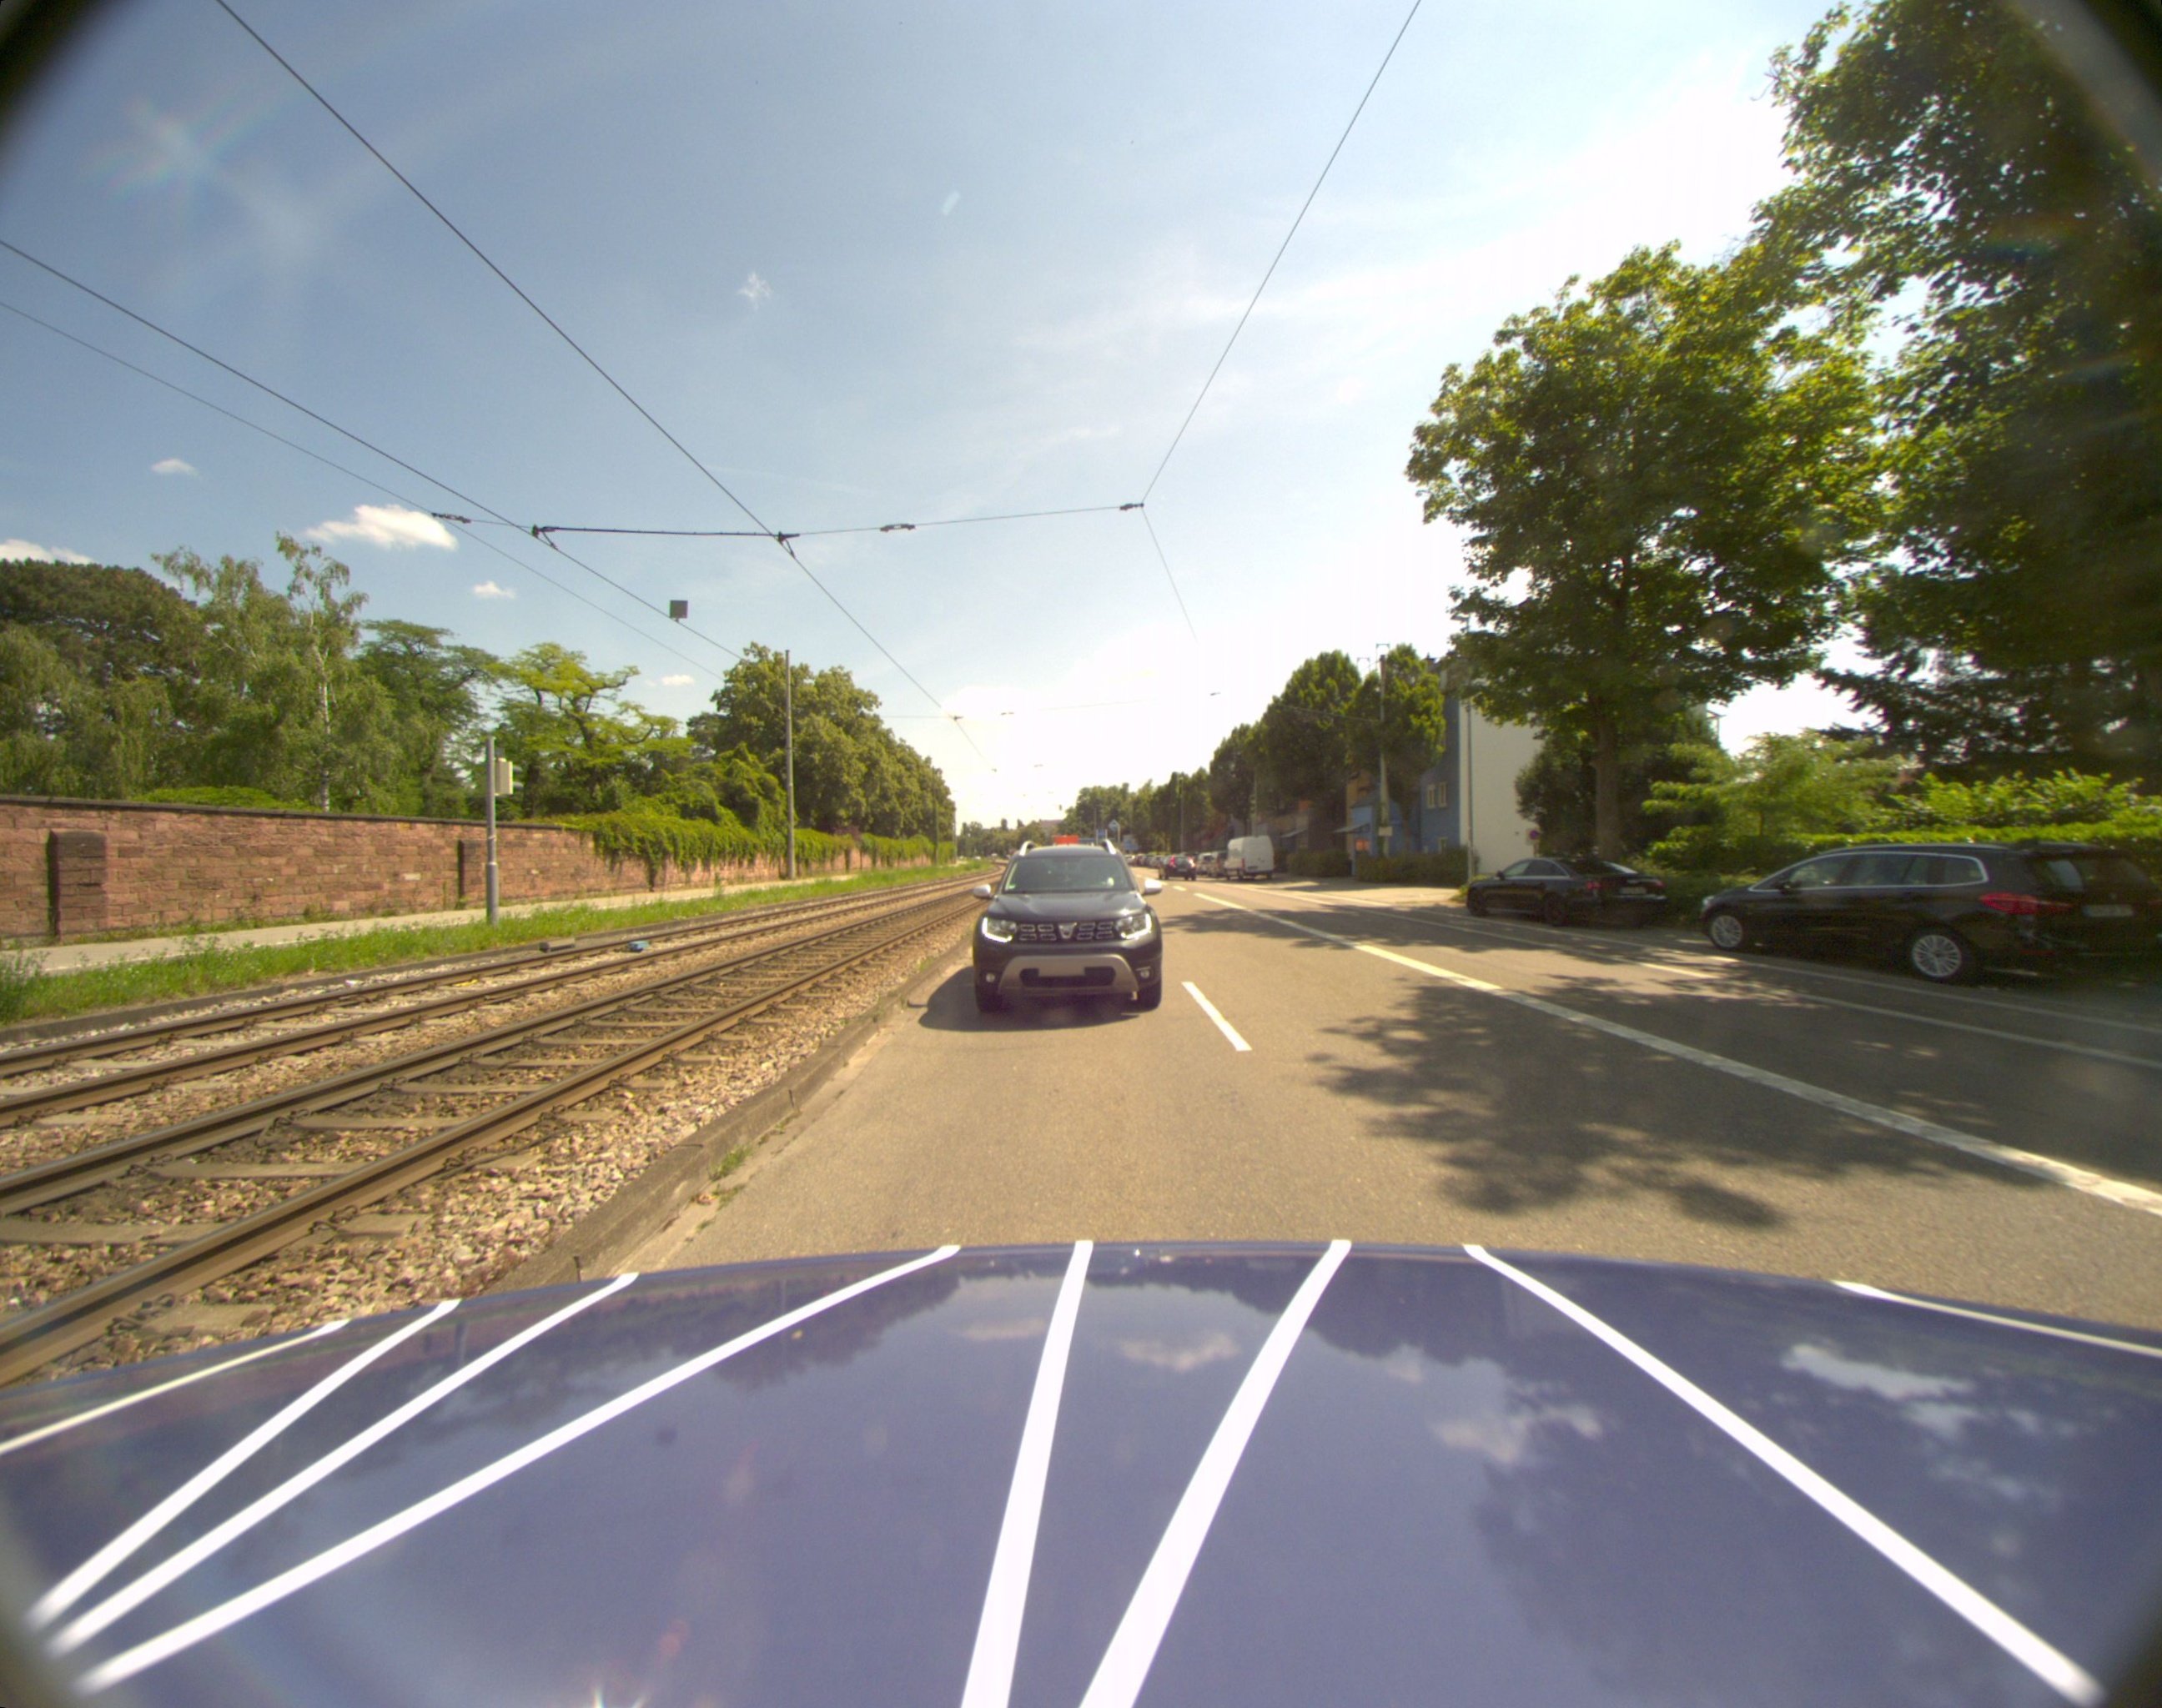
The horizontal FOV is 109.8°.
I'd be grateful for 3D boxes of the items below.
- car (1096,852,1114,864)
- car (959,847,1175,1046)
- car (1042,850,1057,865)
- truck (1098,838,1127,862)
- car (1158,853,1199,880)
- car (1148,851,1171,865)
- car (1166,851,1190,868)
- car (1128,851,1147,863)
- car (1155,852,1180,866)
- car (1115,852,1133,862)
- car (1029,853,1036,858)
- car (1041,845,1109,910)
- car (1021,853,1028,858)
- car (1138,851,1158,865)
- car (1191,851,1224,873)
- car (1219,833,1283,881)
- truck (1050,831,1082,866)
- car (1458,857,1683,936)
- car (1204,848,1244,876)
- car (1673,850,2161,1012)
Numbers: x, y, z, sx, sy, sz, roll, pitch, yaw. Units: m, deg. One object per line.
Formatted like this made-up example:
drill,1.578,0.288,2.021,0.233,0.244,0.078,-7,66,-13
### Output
car,3.054,0.546,96.942,1.780,1.451,4.193,1,0,-5
car,-0.146,0.790,8.867,1.802,1.652,4.787,-1,0,-1
car,-4.541,0.511,110.285,1.999,2.002,3.998,-1,1,-5
truck,4.947,-0.629,121.238,2.840,3.528,8.164,-3,0,-9
car,5.473,0.667,43.199,1.682,1.390,4.005,2,0,-1
car,9.289,0.480,89.909,1.660,1.499,4.892,-3,1,-6
car,9.922,0.525,77.785,1.660,1.608,4.283,0,1,-3
car,7.497,0.389,100.869,1.661,1.600,4.170,-1,0,-9
car,9.538,0.528,83.821,1.746,1.438,4.961,-2,0,-4
car,6.189,0.452,109.428,1.661,1.402,4.393,0,0,-9
car,-15.334,0.472,238.937,2.000,1.379,3.997,0,0,-8
car,-0.189,0.622,22.850,1.801,1.683,4.143,-2,1,-1
car,-17.715,0.485,237.581,2.000,1.379,3.997,0,0,-8
car,8.398,0.456,95.337,1.660,1.600,4.685,-3,0,-6
car,10.285,0.613,61.957,1.721,1.742,4.903,-1,0,-1
car,10.633,0.175,48.142,2.329,2.635,7.035,-4,0,1
truck,-1.753,-0.600,83.203,2.847,3.574,8.700,-1,1,-5
car,10.476,0.810,16.802,1.779,1.447,4.803,-1,0,-2
car,10.461,0.549,55.994,1.811,1.884,5.361,-3,0,0
car,10.586,0.773,10.049,1.779,1.595,4.636,-2,0,-2
